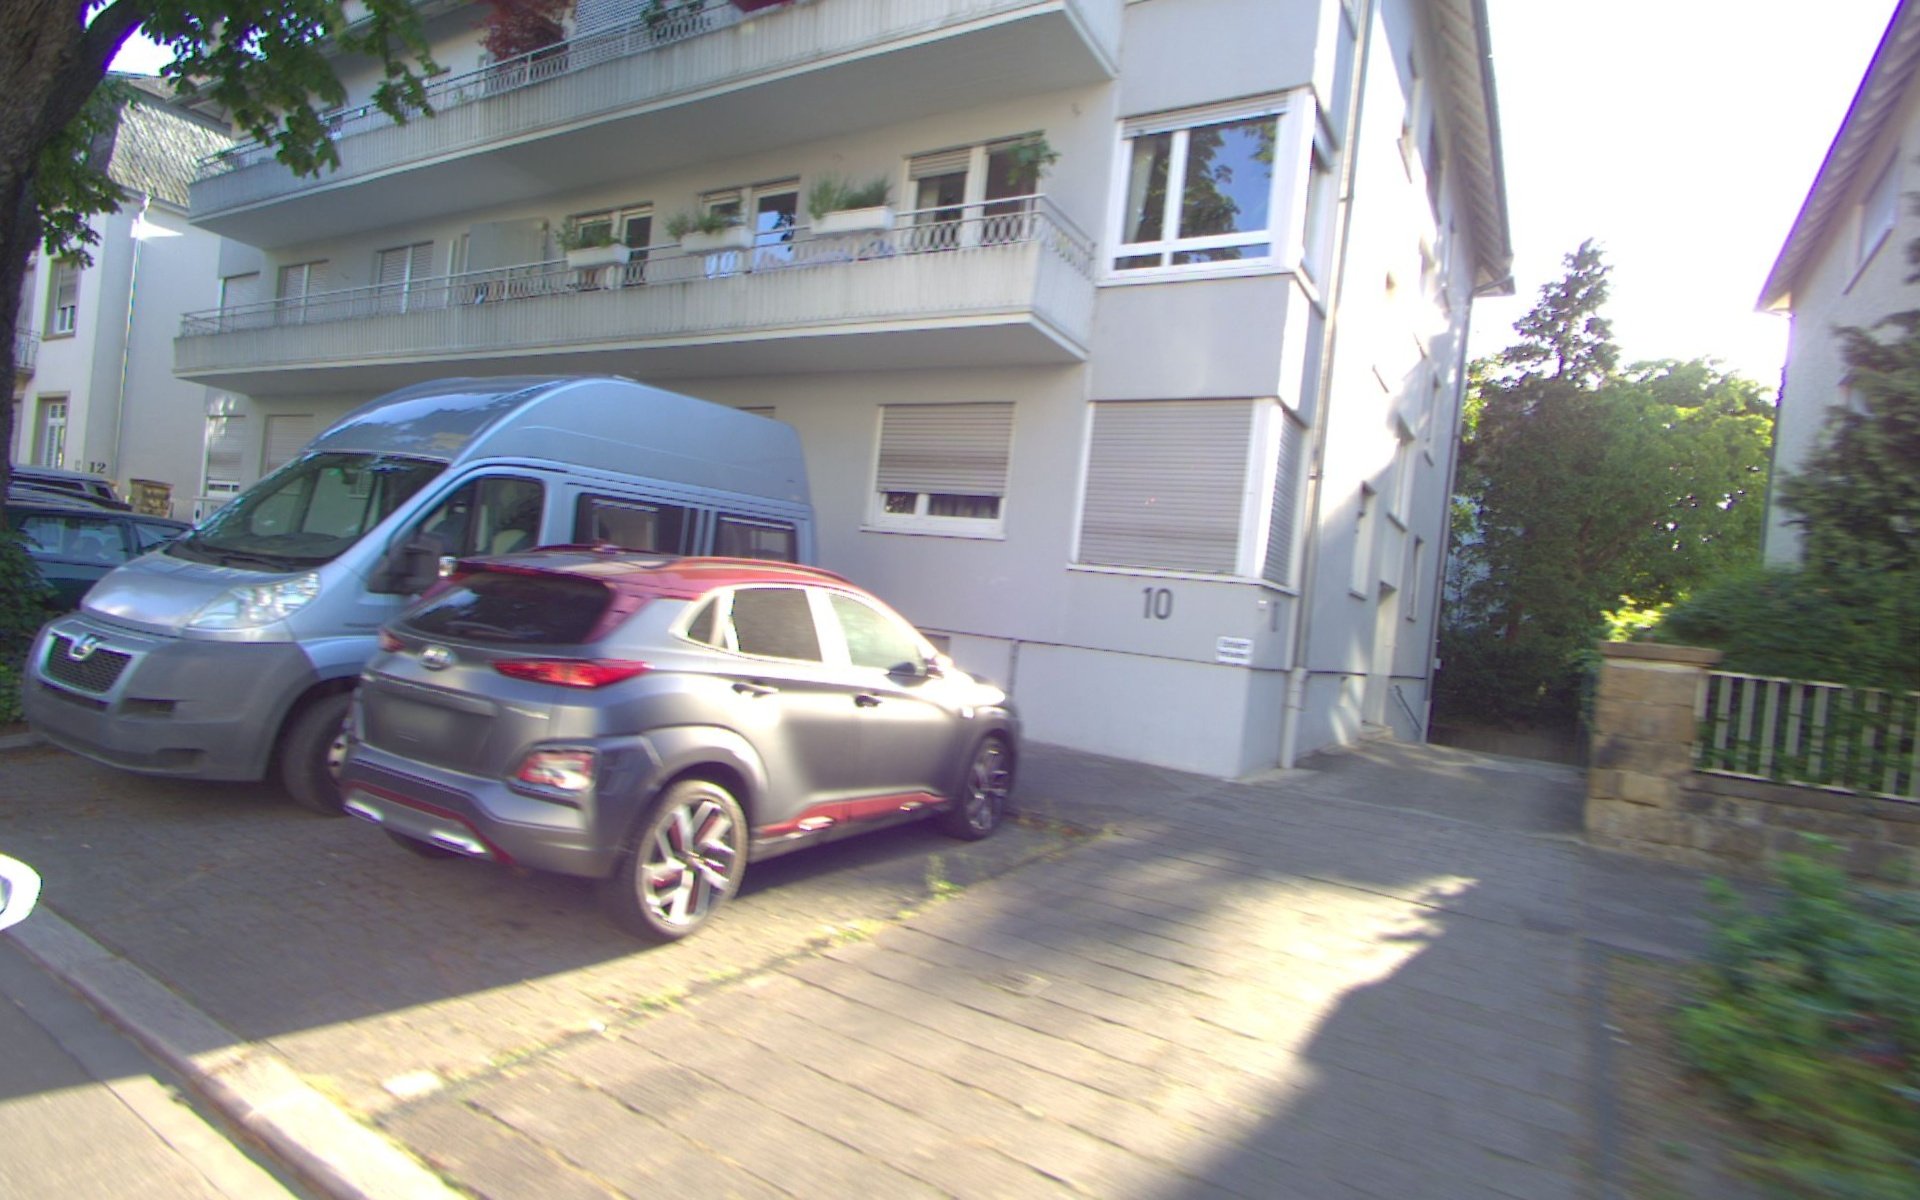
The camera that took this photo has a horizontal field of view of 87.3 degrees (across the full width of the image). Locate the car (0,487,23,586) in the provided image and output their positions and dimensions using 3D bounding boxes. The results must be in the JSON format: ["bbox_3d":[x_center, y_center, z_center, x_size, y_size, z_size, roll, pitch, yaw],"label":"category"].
[{"bbox_3d":[-18.329,-1.278,16.547,1.678,1.704,3.949,6,1,34],"label":"car"}]

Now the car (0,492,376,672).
[{"bbox_3d":[-8.068,-0.124,9.760,1.729,1.447,3.726,4,-2,30],"label":"car"}]

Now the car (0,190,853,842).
[{"bbox_3d":[-3.234,-0.302,7.250,2.041,2.938,5.101,6,0,30],"label":"car"}]

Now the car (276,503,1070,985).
[{"bbox_3d":[-1.084,0.546,5.670,1.729,1.588,4.193,6,0,30],"label":"car"}]

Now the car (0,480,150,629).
[{"bbox_3d":[-12.588,-0.672,11.966,1.734,1.744,4.187,5,-1,24],"label":"car"}]

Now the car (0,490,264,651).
[{"bbox_3d":[-10.199,-0.353,11.104,1.612,1.573,3.726,5,-1,30],"label":"car"}]

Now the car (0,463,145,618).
[{"bbox_3d":[-14.350,-0.982,13.764,1.864,2.038,4.478,6,-1,30],"label":"car"}]
